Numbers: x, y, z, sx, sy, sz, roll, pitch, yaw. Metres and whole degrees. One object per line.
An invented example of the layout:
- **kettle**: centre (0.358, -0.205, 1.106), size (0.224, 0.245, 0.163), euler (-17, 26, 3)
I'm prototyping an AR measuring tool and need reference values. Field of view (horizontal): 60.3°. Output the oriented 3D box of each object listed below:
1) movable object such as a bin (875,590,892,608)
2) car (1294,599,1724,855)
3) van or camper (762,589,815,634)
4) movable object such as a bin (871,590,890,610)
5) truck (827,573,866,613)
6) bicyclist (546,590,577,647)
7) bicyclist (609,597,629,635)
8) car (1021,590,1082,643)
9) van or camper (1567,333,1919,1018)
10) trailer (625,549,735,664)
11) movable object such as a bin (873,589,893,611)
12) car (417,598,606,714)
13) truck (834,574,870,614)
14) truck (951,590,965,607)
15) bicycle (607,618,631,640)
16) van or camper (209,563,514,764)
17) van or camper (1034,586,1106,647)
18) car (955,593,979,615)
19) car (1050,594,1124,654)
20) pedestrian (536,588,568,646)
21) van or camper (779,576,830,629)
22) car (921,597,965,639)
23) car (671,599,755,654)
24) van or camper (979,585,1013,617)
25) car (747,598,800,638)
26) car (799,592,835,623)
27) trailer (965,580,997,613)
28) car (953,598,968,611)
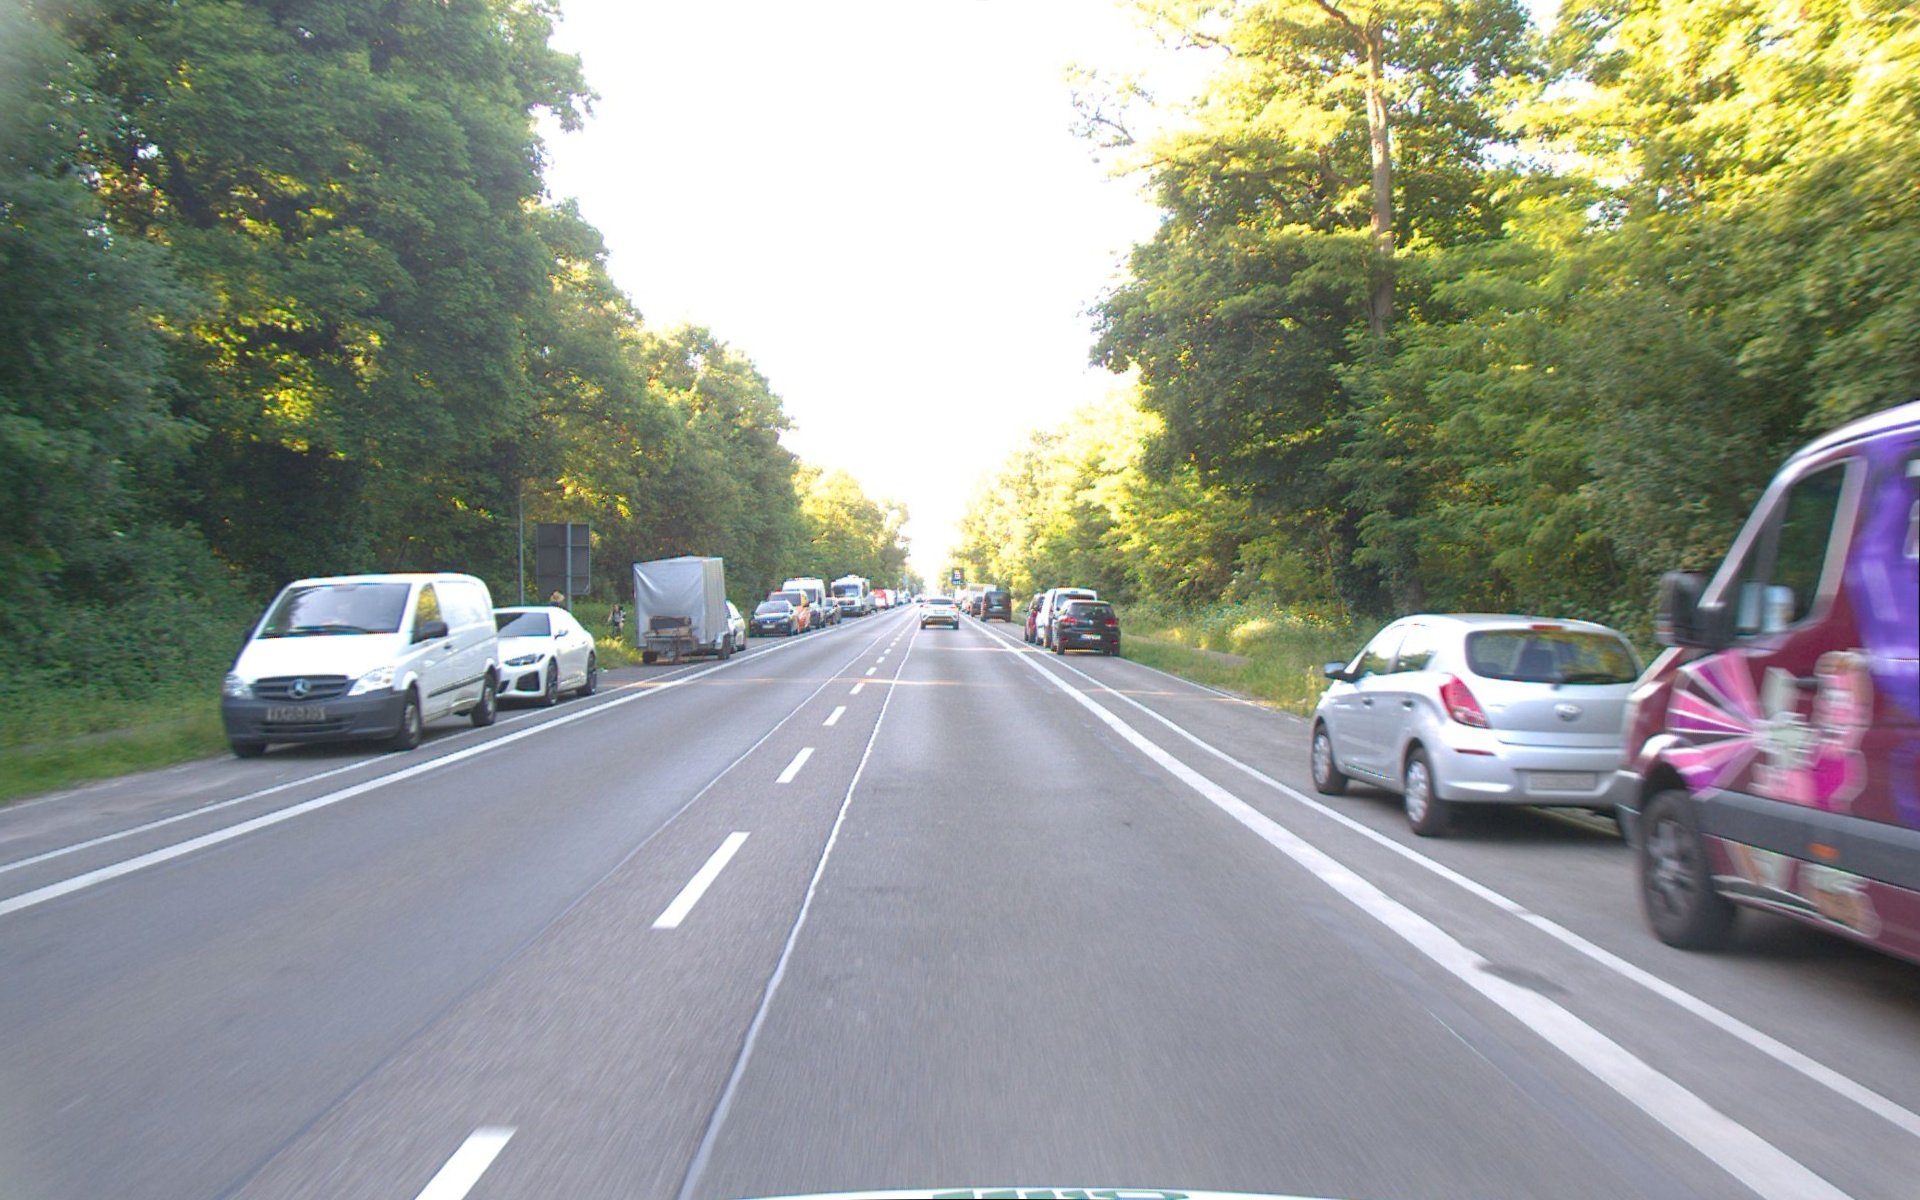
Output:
- **movable object such as a bin**: centre (-10.640, -0.145, 230.554), size (2.275, 2.545, 3.999), euler (0, 0, -1)
- **car**: centre (3.913, 0.812, 12.542), size (1.712, 1.542, 3.998), euler (3, 0, -3)
- **van or camper**: centre (-7.741, 0.493, 75.035), size (1.884, 1.899, 4.862), euler (-2, 0, -1)
- **movable object such as a bin**: centre (-9.967, 0.005, 207.839), size (2.275, 2.545, 3.999), euler (0, 0, -1)
- **truck**: centre (-9.184, -0.559, 134.522), size (2.652, 3.148, 7.988), euler (0, 0, -1)
- **bicyclist**: centre (-9.823, 0.447, 40.799), size (0.592, 1.398, 0.799), euler (0, 0, -1)
- **bicyclist**: centre (-11.515, 0.541, 55.890), size (0.477, 1.256, 0.974), euler (0, 0, -1)
- **car**: centre (3.129, 0.545, 57.190), size (1.797, 1.689, 4.337), euler (2, 0, -1)
- **van or camper**: centre (4.287, 0.248, 5.700), size (1.994, 2.352, 6.039), euler (-1, 0, -2)
- **trailer**: centre (-6.961, 0.152, 41.532), size (1.953, 2.643, 4.415), euler (-2, 0, -1)
- **movable object such as a bin**: centre (-8.990, -0.018, 193.597), size (2.275, 2.545, 3.999), euler (0, 0, -1)
- **car**: centre (-6.831, 0.787, 25.658), size (1.738, 1.567, 4.523), euler (-2, 0, -1)
- **truck**: centre (-9.471, -0.544, 146.097), size (2.652, 3.406, 10.921), euler (0, 0, -1)
- **truck**: centre (-0.325, -0.252, 241.414), size (2.054, 2.495, 5.679), euler (0, 0, -1)
- **bicycle**: centre (-11.518, 0.967, 55.915), size (0.511, 0.725, 1.487), euler (0, 0, -1)
- **van or camper**: centre (-6.623, 0.622, 18.937), size (1.798, 1.945, 4.854), euler (-2, 0, -2)
- **van or camper**: centre (3.401, 0.489, 51.901), size (1.911, 1.847, 4.380), euler (0, 0, -1)
- **car**: centre (0.555, 0.316, 128.646), size (1.803, 1.691, 4.000), euler (0, 0, 0)
- **car**: centre (3.466, 0.631, 45.847), size (1.656, 1.551, 4.149), euler (1, 0, -1)
- **pedestrian**: centre (-11.668, 0.483, 47.271), size (0.743, 1.635, 0.716), euler (0, 0, -1)
- **van or camper**: centre (-8.067, 0.096, 86.188), size (2.077, 2.617, 6.541), euler (-1, 0, -1)
- **car**: centre (-0.806, 0.815, 77.846), size (1.987, 1.872, 4.028), euler (0, 0, -1)
- **car**: centre (-7.107, 0.721, 48.015), size (1.761, 1.479, 4.624), euler (-1, 0, -1)
- **van or camper**: centre (2.245, 0.069, 105.250), size (1.953, 1.966, 5.198), euler (1, 0, -1)
- **car**: centre (-7.700, 0.719, 68.484), size (1.696, 1.504, 4.323), euler (-2, 0, -1)
- **car**: centre (-8.435, 0.421, 98.119), size (1.745, 1.713, 4.377), euler (-2, 0, -1)
- **trailer**: centre (1.907, -0.279, 150.570), size (2.701, 2.920, 6.587), euler (0, 0, -1)
- **car**: centre (0.083, 0.485, 187.245), size (1.622, 1.504, 3.753), euler (0, 0, -1)
